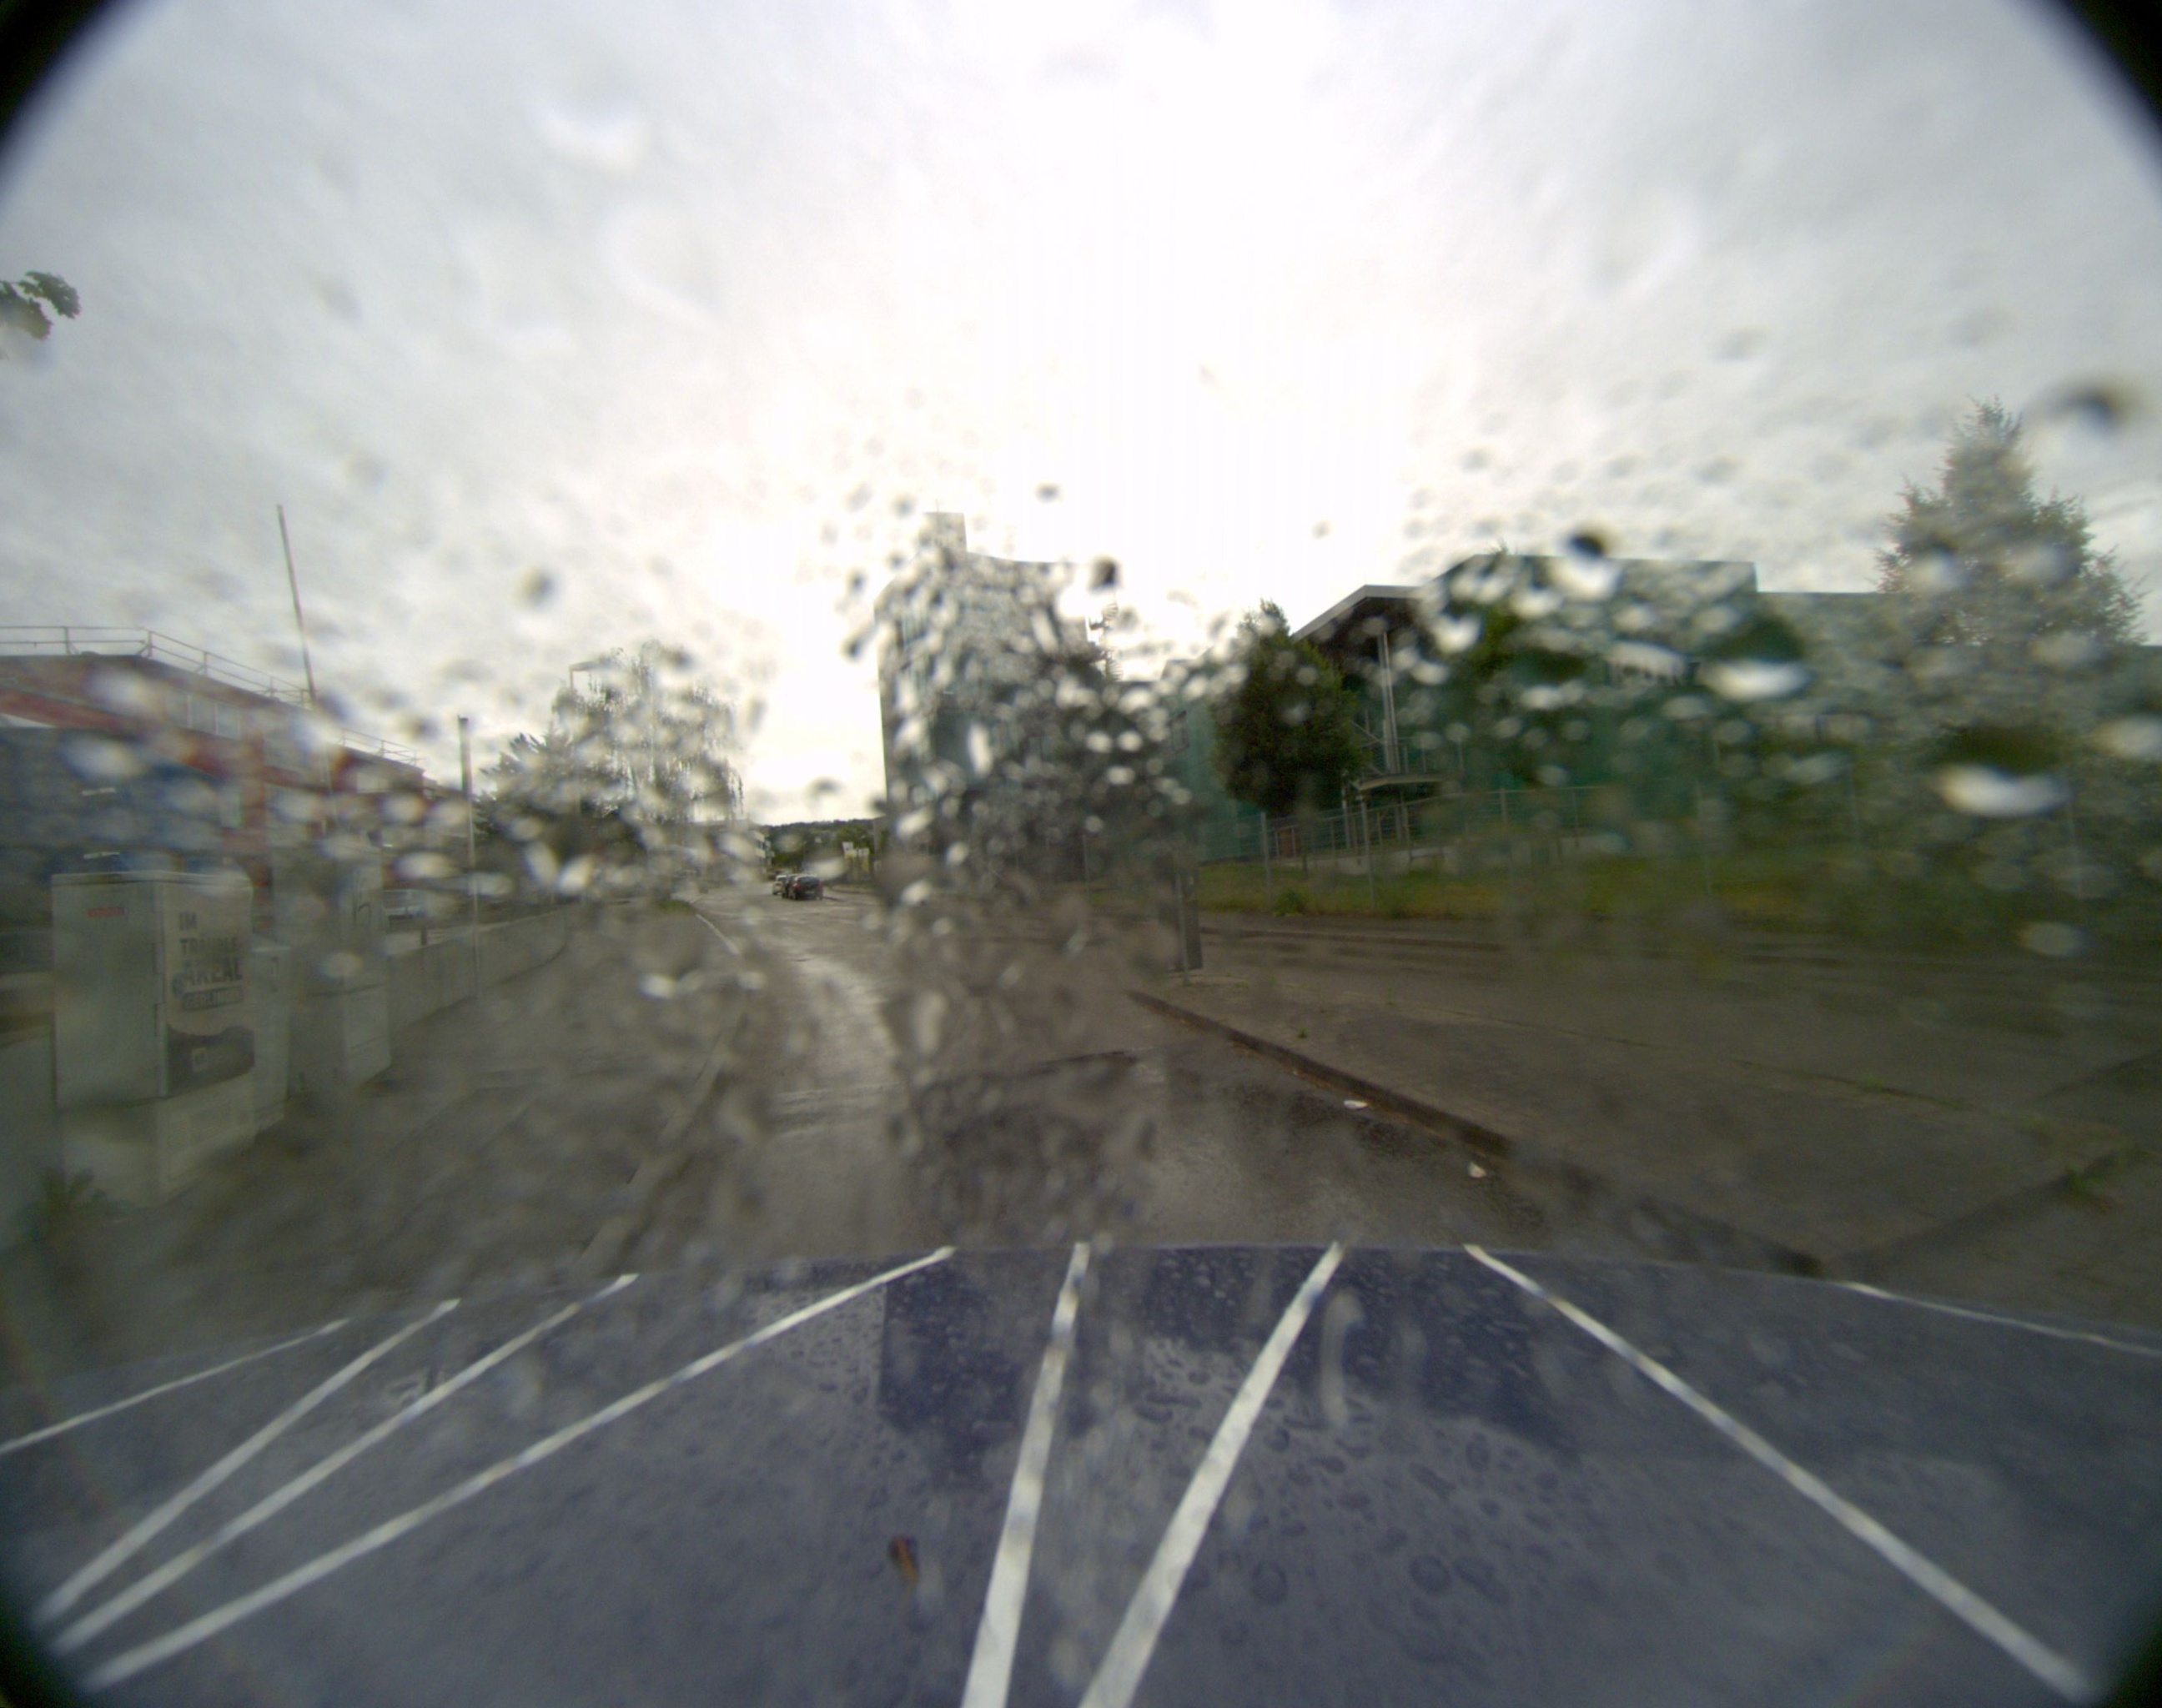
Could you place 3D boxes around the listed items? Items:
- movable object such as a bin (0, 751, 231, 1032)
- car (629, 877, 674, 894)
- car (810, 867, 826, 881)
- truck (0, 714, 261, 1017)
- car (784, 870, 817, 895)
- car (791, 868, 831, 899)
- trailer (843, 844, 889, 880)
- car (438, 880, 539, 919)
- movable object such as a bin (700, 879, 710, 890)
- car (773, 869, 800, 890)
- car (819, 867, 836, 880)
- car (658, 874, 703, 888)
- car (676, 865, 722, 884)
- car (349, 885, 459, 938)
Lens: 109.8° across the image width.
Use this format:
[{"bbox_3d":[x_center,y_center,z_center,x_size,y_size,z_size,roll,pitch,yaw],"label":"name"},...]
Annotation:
[{"bbox_3d":[-6.526,0.236,4.626,1.313,1.492,1.854,-3,0,-33],"label":"movable object such as a bin"},{"bbox_3d":[-44.949,3.239,79.513,3.754,1.531,1.629,-3,0,-17],"label":"car"},{"bbox_3d":[-37.604,2.868,108.573,2.002,1.902,3.993,-3,0,-22],"label":"car"},{"bbox_3d":[-8.884,0.118,5.275,2.114,2.201,5.643,-3,0,-23],"label":"truck"},{"bbox_3d":[-19.289,1.911,52.167,1.640,1.549,4.076,-3,0,-27],"label":"car"},{"bbox_3d":[-16.891,1.800,47.464,1.747,1.787,3.950,-3,0,-27],"label":"car"},{"bbox_3d":[-25.367,0.950,89.670,4.689,4.065,2.393,-3,0,24],"label":"trailer"},{"bbox_3d":[-29.047,2.182,37.458,2.002,1.570,4.507,-5,0,-12],"label":"car"},{"bbox_3d":[-37.012,2.984,74.799,0.737,1.084,0.593,-3,0,-20],"label":"movable object such as a bin"},{"bbox_3d":[-24.203,2.071,62.323,1.742,1.527,4.242,-3,0,-25],"label":"car"},{"bbox_3d":[-42.933,3.286,128.507,2.000,2.002,3.997,-3,0,-9],"label":"car"},{"bbox_3d":[-50.119,3.412,95.136,4.628,1.488,1.939,-3,0,-15],"label":"car"},{"bbox_3d":[-52.552,2.799,104.731,5.158,2.280,2.200,-3,0,-13],"label":"car"},{"bbox_3d":[-27.273,2.256,30.800,2.002,1.827,3.993,-3,0,-22],"label":"car"}]
